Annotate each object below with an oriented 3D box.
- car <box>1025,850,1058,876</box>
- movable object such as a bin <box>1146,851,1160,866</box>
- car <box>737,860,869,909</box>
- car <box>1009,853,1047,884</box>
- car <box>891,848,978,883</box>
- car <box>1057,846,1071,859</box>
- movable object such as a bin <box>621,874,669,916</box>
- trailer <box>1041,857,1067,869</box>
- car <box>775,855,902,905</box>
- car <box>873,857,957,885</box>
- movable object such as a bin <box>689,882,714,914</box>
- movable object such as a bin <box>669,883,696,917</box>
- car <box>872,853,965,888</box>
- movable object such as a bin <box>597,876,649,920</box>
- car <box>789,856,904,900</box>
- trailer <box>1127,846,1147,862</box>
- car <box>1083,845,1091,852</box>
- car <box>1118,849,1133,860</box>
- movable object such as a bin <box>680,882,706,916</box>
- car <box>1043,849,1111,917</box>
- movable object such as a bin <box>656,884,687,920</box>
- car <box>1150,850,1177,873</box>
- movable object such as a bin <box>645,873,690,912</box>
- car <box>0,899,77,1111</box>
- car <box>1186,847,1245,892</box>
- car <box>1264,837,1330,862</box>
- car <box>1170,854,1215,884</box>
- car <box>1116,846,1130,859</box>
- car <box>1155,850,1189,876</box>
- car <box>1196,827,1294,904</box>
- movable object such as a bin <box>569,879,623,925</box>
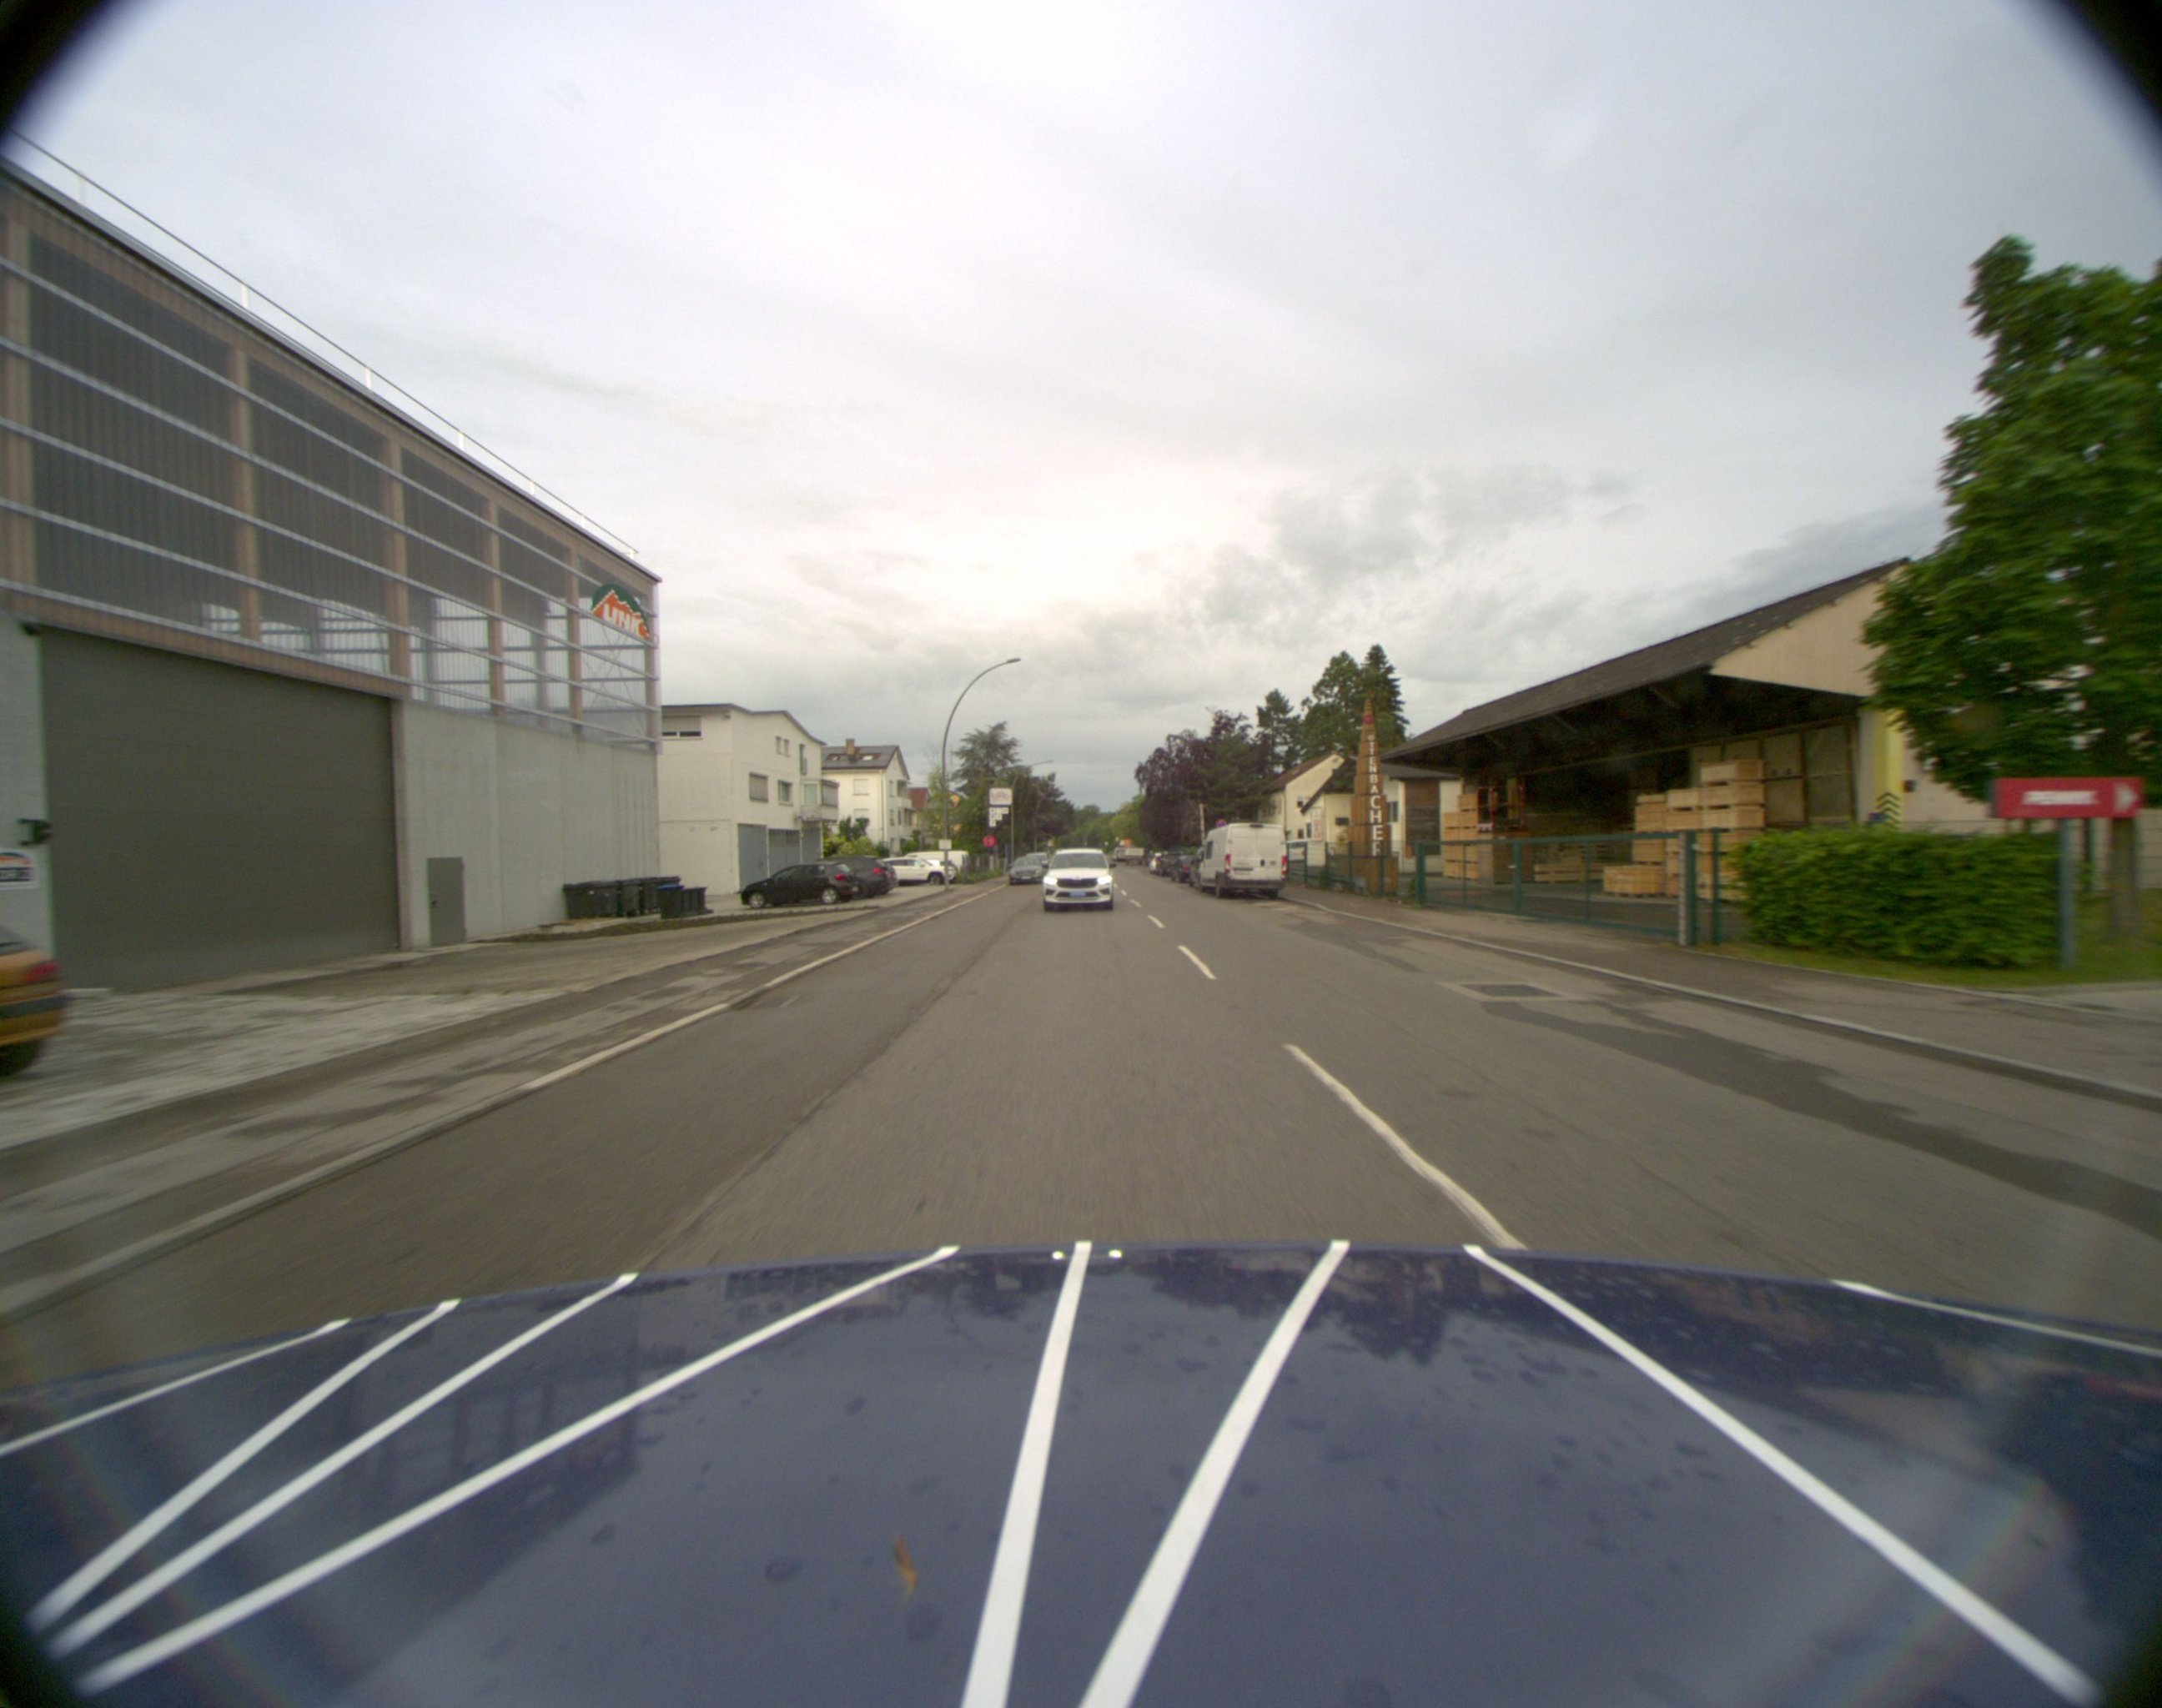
[{"bbox_3d":[-2.629,0.574,51.458,1.743,1.612,4.373,-3,1,2],"label":"car"},{"bbox_3d":[6.736,0.413,70.769,1.103,1.303,1.425,-3,1,0],"label":"movable object such as a bin"},{"bbox_3d":[-9.829,1.068,27.086,3.976,1.481,1.833,-2,1,1],"label":"car"},{"bbox_3d":[-2.808,0.727,41.063,1.743,1.458,4.544,-3,1,-1],"label":"car"},{"bbox_3d":[-8.746,0.666,45.752,4.743,1.875,2.000,-3,1,0],"label":"car"},{"bbox_3d":[-2.502,-0.237,113.695,1.736,1.817,5.552,-4,1,1],"label":"car"},{"bbox_3d":[-15.245,1.428,26.607,0.840,1.332,1.285,-3,1,1],"label":"movable object such as a bin"},{"bbox_3d":[-2.453,0.844,70.524,2.179,0.892,6.635,-3,0,0],"label":"trailer"},{"bbox_3d":[-9.393,0.969,29.655,4.237,1.665,1.980,-3,1,-1],"label":"car"},{"bbox_3d":[-9.365,0.946,43.179,4.331,1.371,1.850,-3,1,-1],"label":"car"},{"bbox_3d":[-12.795,1.480,25.624,0.518,1.049,0.505,-3,1,1],"label":"movable object such as a bin"},{"bbox_3d":[-12.831,1.480,24.499,0.514,1.049,0.543,-3,1,1],"label":"movable object such as a bin"},{"bbox_3d":[-8.601,0.868,40.484,4.457,1.615,1.893,-3,1,-1],"label":"car"},{"bbox_3d":[-15.198,1.454,25.270,0.840,1.332,1.321,-3,1,1],"label":"movable object such as a bin"},{"bbox_3d":[-9.894,1.002,32.308,4.254,1.527,1.811,-3,1,0],"label":"car"},{"bbox_3d":[6.267,-0.021,86.009,1.934,1.755,4.547,-2,1,1],"label":"trailer"},{"bbox_3d":[1.458,-1.288,175.309,1.898,1.678,4.230,0,1,1],"label":"car"},{"bbox_3d":[6.189,0.044,106.645,1.821,1.419,4.980,0,1,1],"label":"car"},{"bbox_3d":[-12.813,1.471,25.080,0.497,1.049,0.552,-3,1,1],"label":"movable object such as a bin"},{"bbox_3d":[-0.167,0.731,21.531,1.692,1.651,3.998,-3,1,-2],"label":"car"},{"bbox_3d":[-12.876,1.503,23.895,0.576,1.049,0.644,-3,1,1],"label":"movable object such as a bin"},{"bbox_3d":[5.841,0.517,54.149,1.620,1.500,3.660,0,1,1],"label":"car"},{"bbox_3d":[-15.222,1.407,28.003,0.840,1.332,1.330,-3,1,1],"label":"movable object such as a bin"},{"bbox_3d":[-9.380,1.106,4.709,3.997,1.422,1.630,-2,1,-1],"label":"car"},{"bbox_3d":[5.855,0.616,33.478,1.774,1.758,4.445,2,1,1],"label":"car"},{"bbox_3d":[18.248,-0.397,64.294,5.010,1.846,2.000,-3,1,2],"label":"car"},{"bbox_3d":[5.791,0.739,39.921,1.666,1.440,4.316,0,1,-2],"label":"car"},{"bbox_3d":[6.139,-0.264,112.079,1.898,1.881,5.209,0,1,1],"label":"car"},{"bbox_3d":[5.858,0.559,49.094,1.665,1.575,3.915,0,1,-1],"label":"car"},{"bbox_3d":[5.780,0.339,27.747,2.163,2.413,6.459,2,1,0],"label":"car"},{"bbox_3d":[-15.278,1.490,23.953,0.840,1.332,1.213,-3,1,1],"label":"movable object such as a bin"}]
